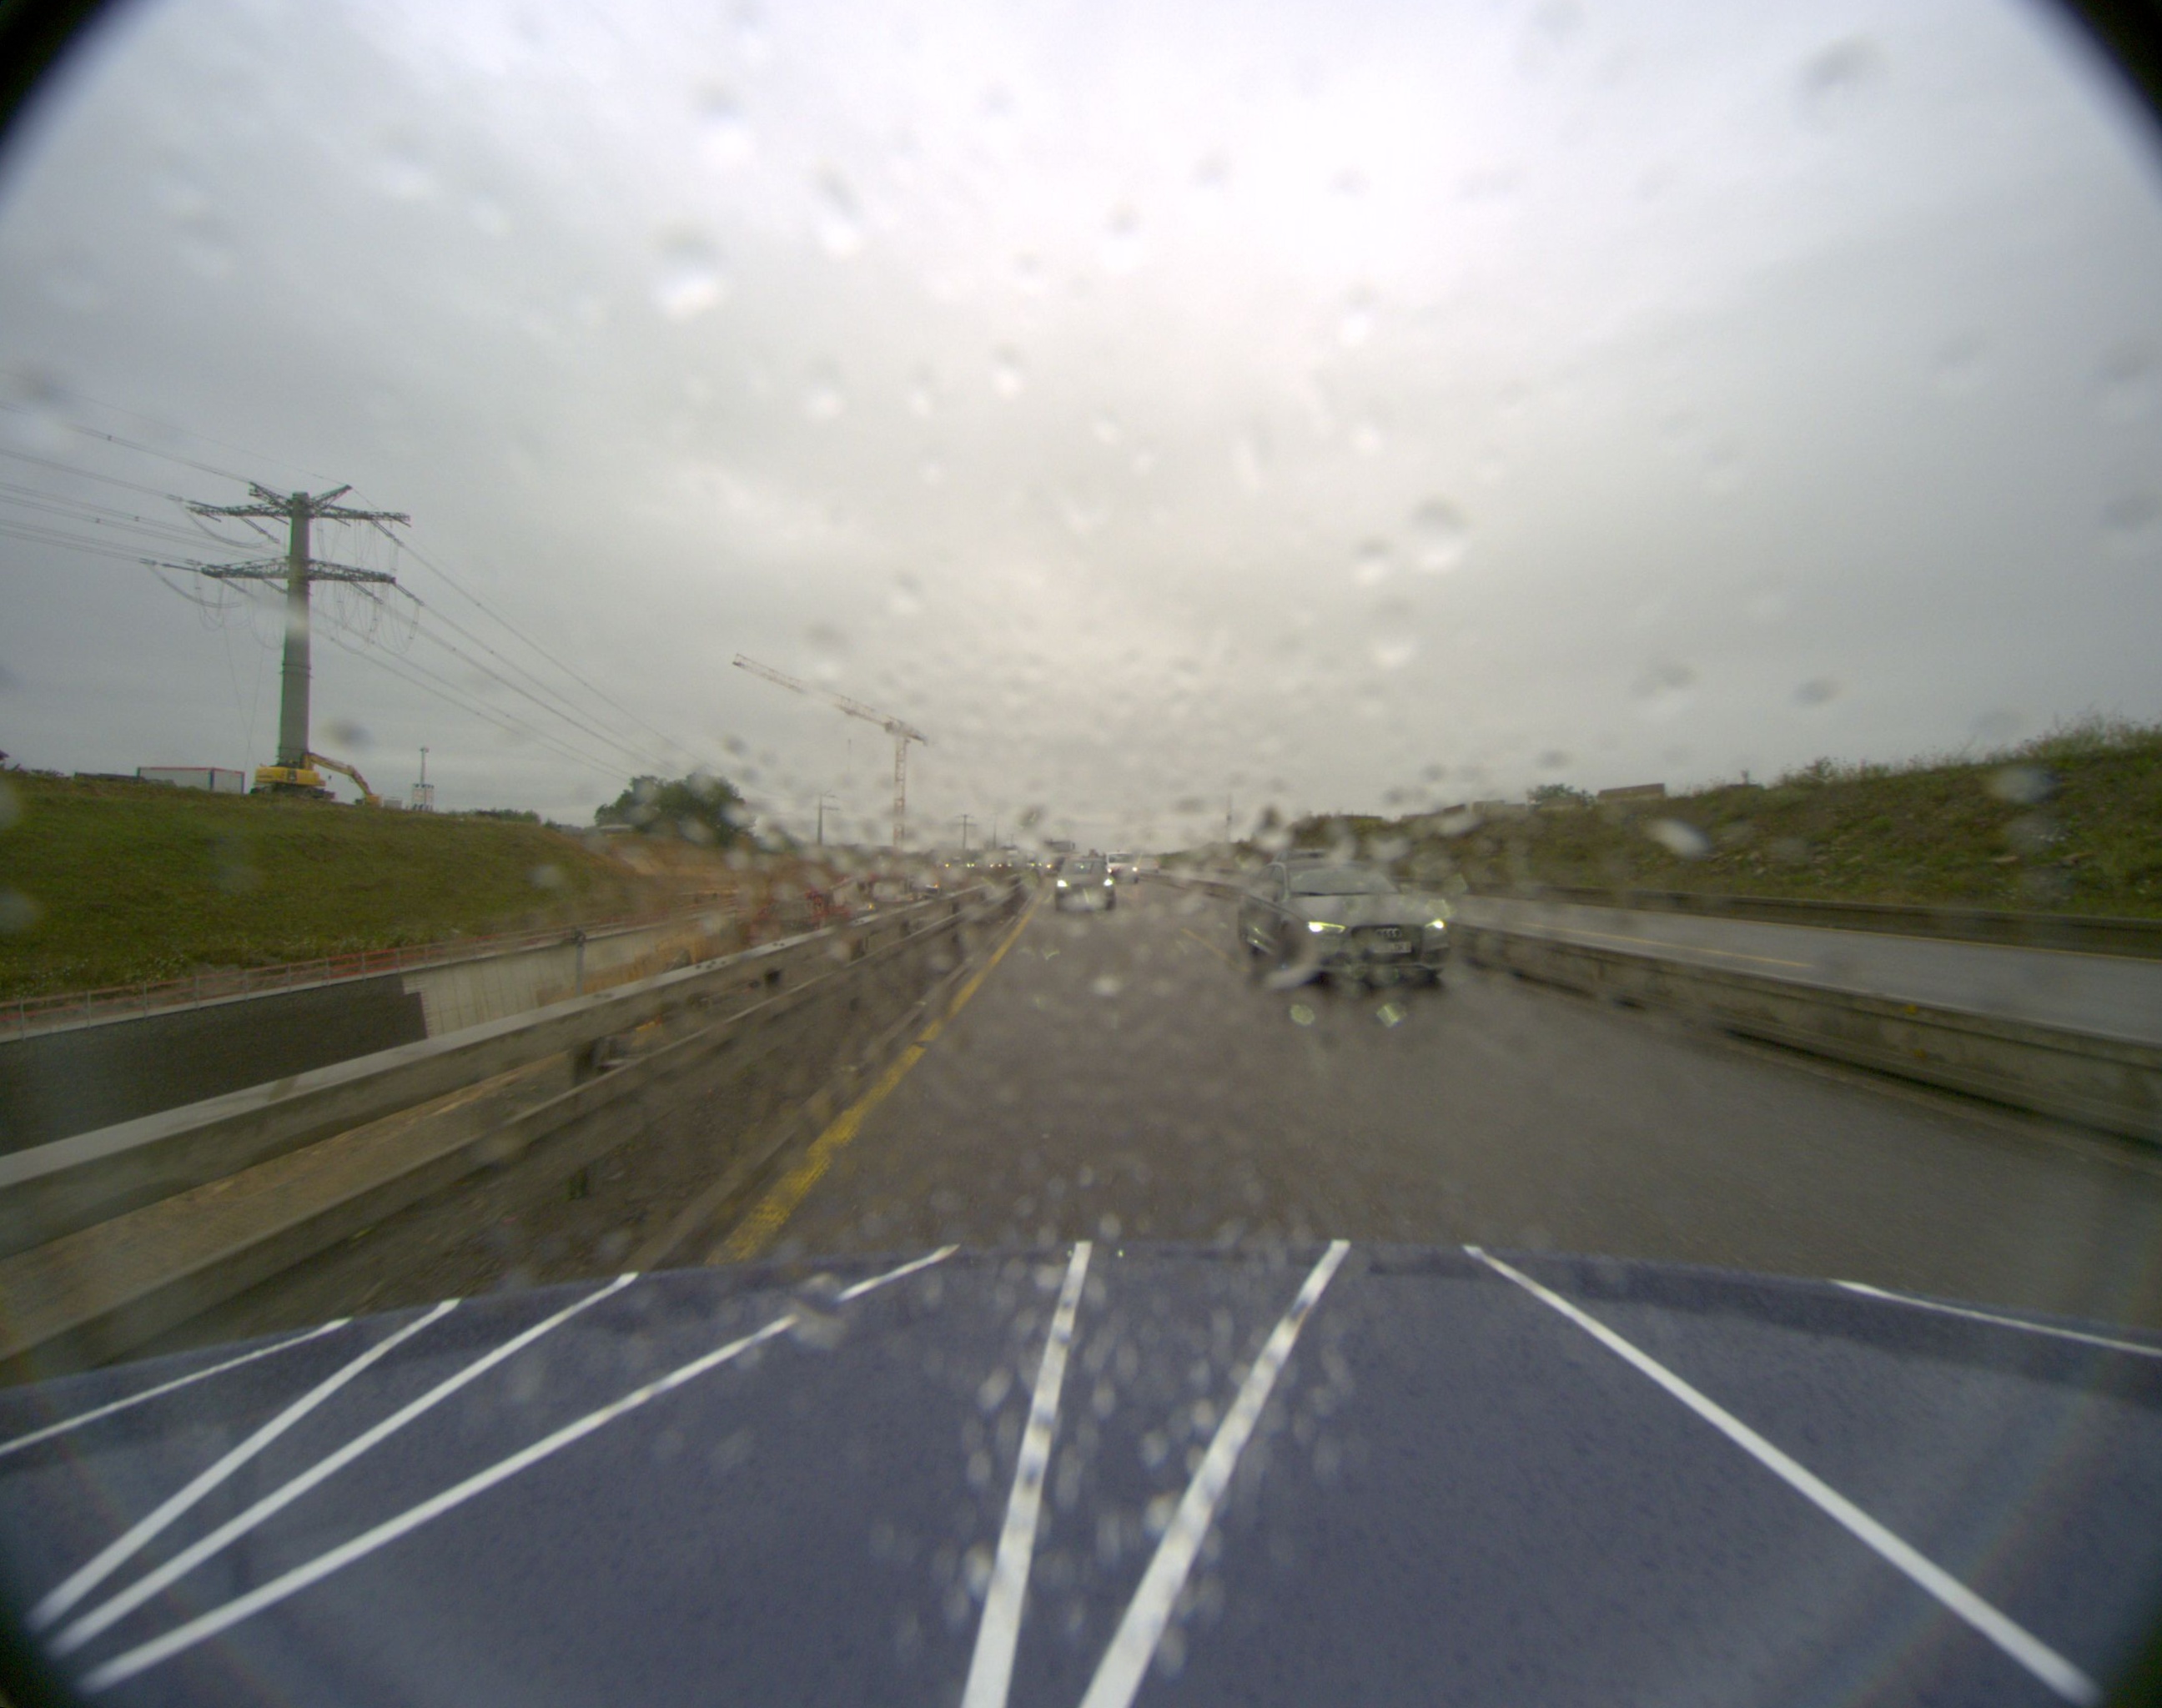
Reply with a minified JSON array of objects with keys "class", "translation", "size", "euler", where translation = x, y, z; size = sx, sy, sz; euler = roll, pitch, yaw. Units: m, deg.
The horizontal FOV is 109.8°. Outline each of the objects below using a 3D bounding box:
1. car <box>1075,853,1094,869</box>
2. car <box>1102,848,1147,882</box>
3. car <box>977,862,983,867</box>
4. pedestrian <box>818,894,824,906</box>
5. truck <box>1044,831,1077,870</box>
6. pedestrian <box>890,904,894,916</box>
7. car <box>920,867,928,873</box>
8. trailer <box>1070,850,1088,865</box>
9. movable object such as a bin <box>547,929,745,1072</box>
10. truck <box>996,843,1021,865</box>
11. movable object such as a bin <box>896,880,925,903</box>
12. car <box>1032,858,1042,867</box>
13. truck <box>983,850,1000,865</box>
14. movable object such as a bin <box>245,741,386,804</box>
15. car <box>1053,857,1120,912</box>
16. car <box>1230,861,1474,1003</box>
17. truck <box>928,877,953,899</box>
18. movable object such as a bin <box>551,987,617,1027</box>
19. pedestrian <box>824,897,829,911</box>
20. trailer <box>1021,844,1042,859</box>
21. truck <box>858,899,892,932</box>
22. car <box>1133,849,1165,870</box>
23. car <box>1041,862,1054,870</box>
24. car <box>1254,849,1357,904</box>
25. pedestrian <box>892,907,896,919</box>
[{"class":"car","translation":[0.377,0.825,91.033],"size":[1.790,1.744,3.997],"euler":[-3,0,-7]},{"class":"car","translation":[2.619,0.607,46.623],"size":[2.070,1.933,5.154],"euler":[-2,1,-4]},{"class":"car","translation":[-30.136,3.171,226.440],"size":[1.790,1.418,3.997],"euler":[-3,0,-8]},{"class":"pedestrian","translation":[-41.851,7.442,122.367],"size":[0.488,1.794,0.583],"euler":[-5,2,32]},{"class":"truck","translation":[-2.049,-0.362,73.536],"size":[2.856,3.462,8.641],"euler":[-2,1,-2]},{"class":"pedestrian","translation":[-29.548,8.811,118.875],"size":[0.603,1.894,0.481],"euler":[0,1,-8]},{"class":"car","translation":[-50.993,5.167,247.043],"size":[2.352,1.609,4.855],"euler":[-1,0,-9]},{"class":"trailer","translation":[-0.371,0.689,142.115],"size":[2.517,2.549,7.159],"euler":[-3,0,-5]},{"class":"movable object such as a bin","translation":[-25.930,8.454,46.734],"size":[4.906,5.639,12.082],"euler":[-4,3,-1]},{"class":"truck","translation":[-15.481,0.070,161.590],"size":[4.321,4.319,13.397],"euler":[-3,0,-8]},{"class":"movable object such as a bin","translation":[-30.664,6.717,136.741],"size":[3.517,3.405,6.651],"euler":[-2,2,1]},{"class":"car","translation":[-8.903,1.721,153.176],"size":[1.790,1.646,3.997],"euler":[-3,0,-8]},{"class":"truck","translation":[-24.066,0.969,204.755],"size":[3.549,3.871,8.326],"euler":[-3,0,-12]},{"class":"movable object such as a bin","translation":[-61.867,-6.448,61.803],"size":[3.107,4.181,8.178],"euler":[-1,0,0]},{"class":"car","translation":[0.107,0.880,23.837],"size":[1.874,1.481,4.260],"euler":[-2,0,-2]},{"class":"car","translation":[3.258,0.846,10.052],"size":[1.804,1.375,4.087],"euler":[-2,1,1]},{"class":"truck","translation":[-26.579,6.362,144.030],"size":[3.361,3.521,8.902],"euler":[-1,2,-3]},{"class":"movable object such as a bin","translation":[-34.502,10.583,52.893],"size":[2.524,1.900,3.254],"euler":[-4,1,-7]},{"class":"pedestrian","translation":[-41.600,8.178,124.028],"size":[0.489,2.088,0.481],"euler":[-7,2,-8]},{"class":"trailer","translation":[-13.724,-0.607,208.066],"size":[3.268,3.941,11.519],"euler":[-2,1,-16]},{"class":"truck","translation":[-27.891,8.224,103.310],"size":[2.711,3.591,9.068],"euler":[0,1,-4]},{"class":"car","translation":[5.693,0.415,64.072],"size":[2.051,1.623,4.988],"euler":[-2,1,-2]},{"class":"car","translation":[-6.072,2.122,136.977],"size":[1.790,1.418,3.997],"euler":[-3,0,-8]},{"class":"car","translation":[7.033,0.629,24.315],"size":[1.816,1.584,4.901],"euler":[0,0,0]},{"class":"pedestrian","translation":[-29.117,9.173,118.186],"size":[0.603,1.894,0.614],"euler":[0,1,-8]}]
